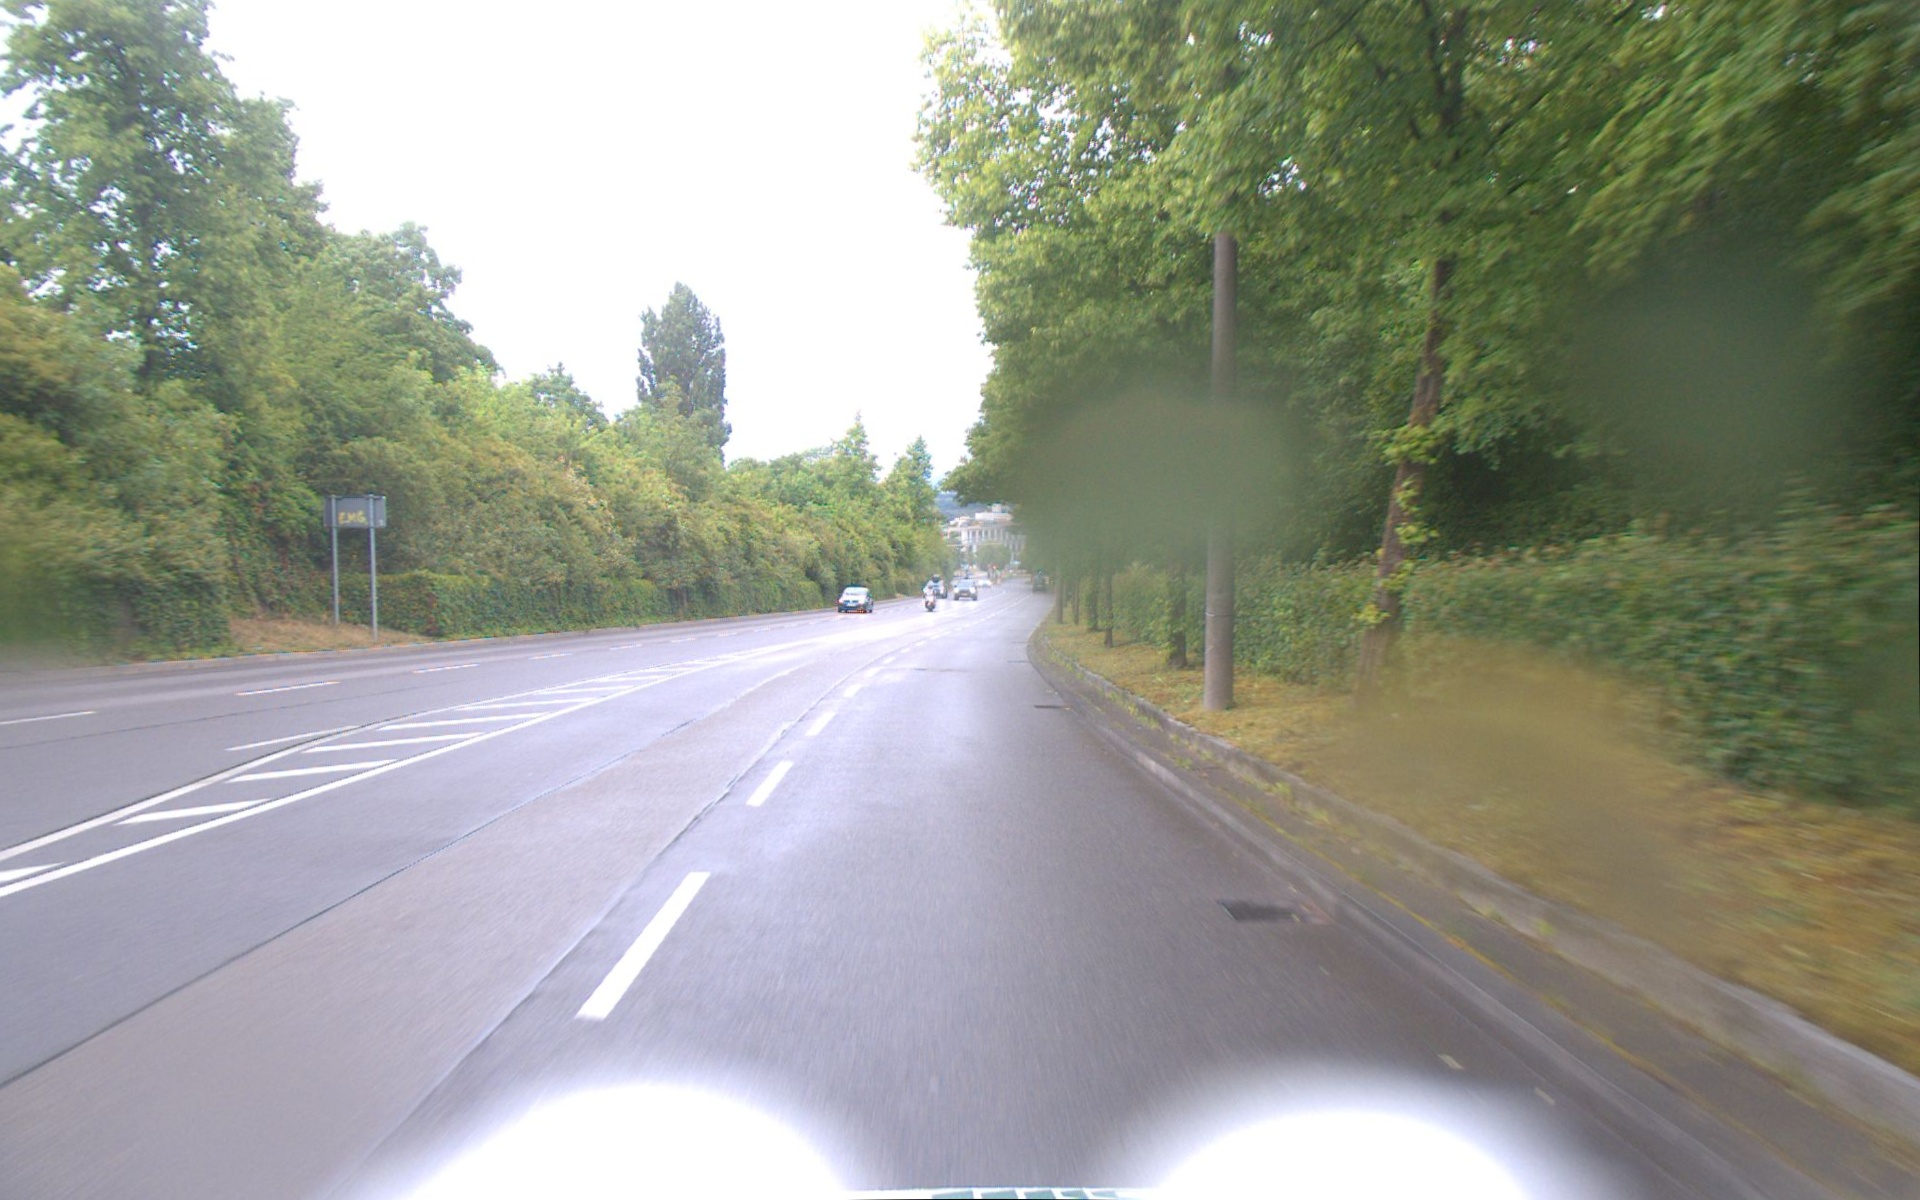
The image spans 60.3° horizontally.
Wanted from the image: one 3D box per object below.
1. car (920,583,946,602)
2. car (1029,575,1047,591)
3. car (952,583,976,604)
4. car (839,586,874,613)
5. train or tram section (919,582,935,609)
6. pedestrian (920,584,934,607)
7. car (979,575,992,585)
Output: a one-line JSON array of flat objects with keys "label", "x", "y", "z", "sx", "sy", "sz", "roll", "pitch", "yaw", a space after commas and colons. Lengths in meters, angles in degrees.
[{"label": "car", "x": -2.453, "y": -0.696, "z": 149.470, "sx": 1.859, "sy": 1.580, "sz": 4.633, "roll": 3, "pitch": 0, "yaw": 4}, {"label": "car", "x": 9.399, "y": -1.985, "z": 199.239, "sx": 1.810, "sy": 1.731, "sz": 3.795, "roll": 3, "pitch": -1, "yaw": 6}, {"label": "car", "x": 0.365, "y": -0.574, "z": 145.504, "sx": 1.774, "sy": 1.686, "sz": 4.597, "roll": 2, "pitch": 0, "yaw": 3}, {"label": "car", "x": -5.851, "y": -0.035, "z": 93.471, "sx": 1.516, "sy": 1.462, "sz": 3.697, "roll": 2, "pitch": 0, "yaw": 3}, {"label": "train or tram section", "x": -2.044, "y": -0.288, "z": 102.843, "sx": 0.774, "sy": 1.597, "sz": 2.384, "roll": 3, "pitch": 0, "yaw": 3}, {"label": "pedestrian", "x": -2.041, "y": -0.288, "z": 102.849, "sx": 0.774, "sy": 1.408, "sz": 0.975, "roll": 3, "pitch": 0, "yaw": 3}, {"label": "car", "x": 3.844, "y": -3.026, "z": 251.575, "sx": 1.679, "sy": 1.531, "sz": 4.519, "roll": 3, "pitch": 1, "yaw": 4}]
